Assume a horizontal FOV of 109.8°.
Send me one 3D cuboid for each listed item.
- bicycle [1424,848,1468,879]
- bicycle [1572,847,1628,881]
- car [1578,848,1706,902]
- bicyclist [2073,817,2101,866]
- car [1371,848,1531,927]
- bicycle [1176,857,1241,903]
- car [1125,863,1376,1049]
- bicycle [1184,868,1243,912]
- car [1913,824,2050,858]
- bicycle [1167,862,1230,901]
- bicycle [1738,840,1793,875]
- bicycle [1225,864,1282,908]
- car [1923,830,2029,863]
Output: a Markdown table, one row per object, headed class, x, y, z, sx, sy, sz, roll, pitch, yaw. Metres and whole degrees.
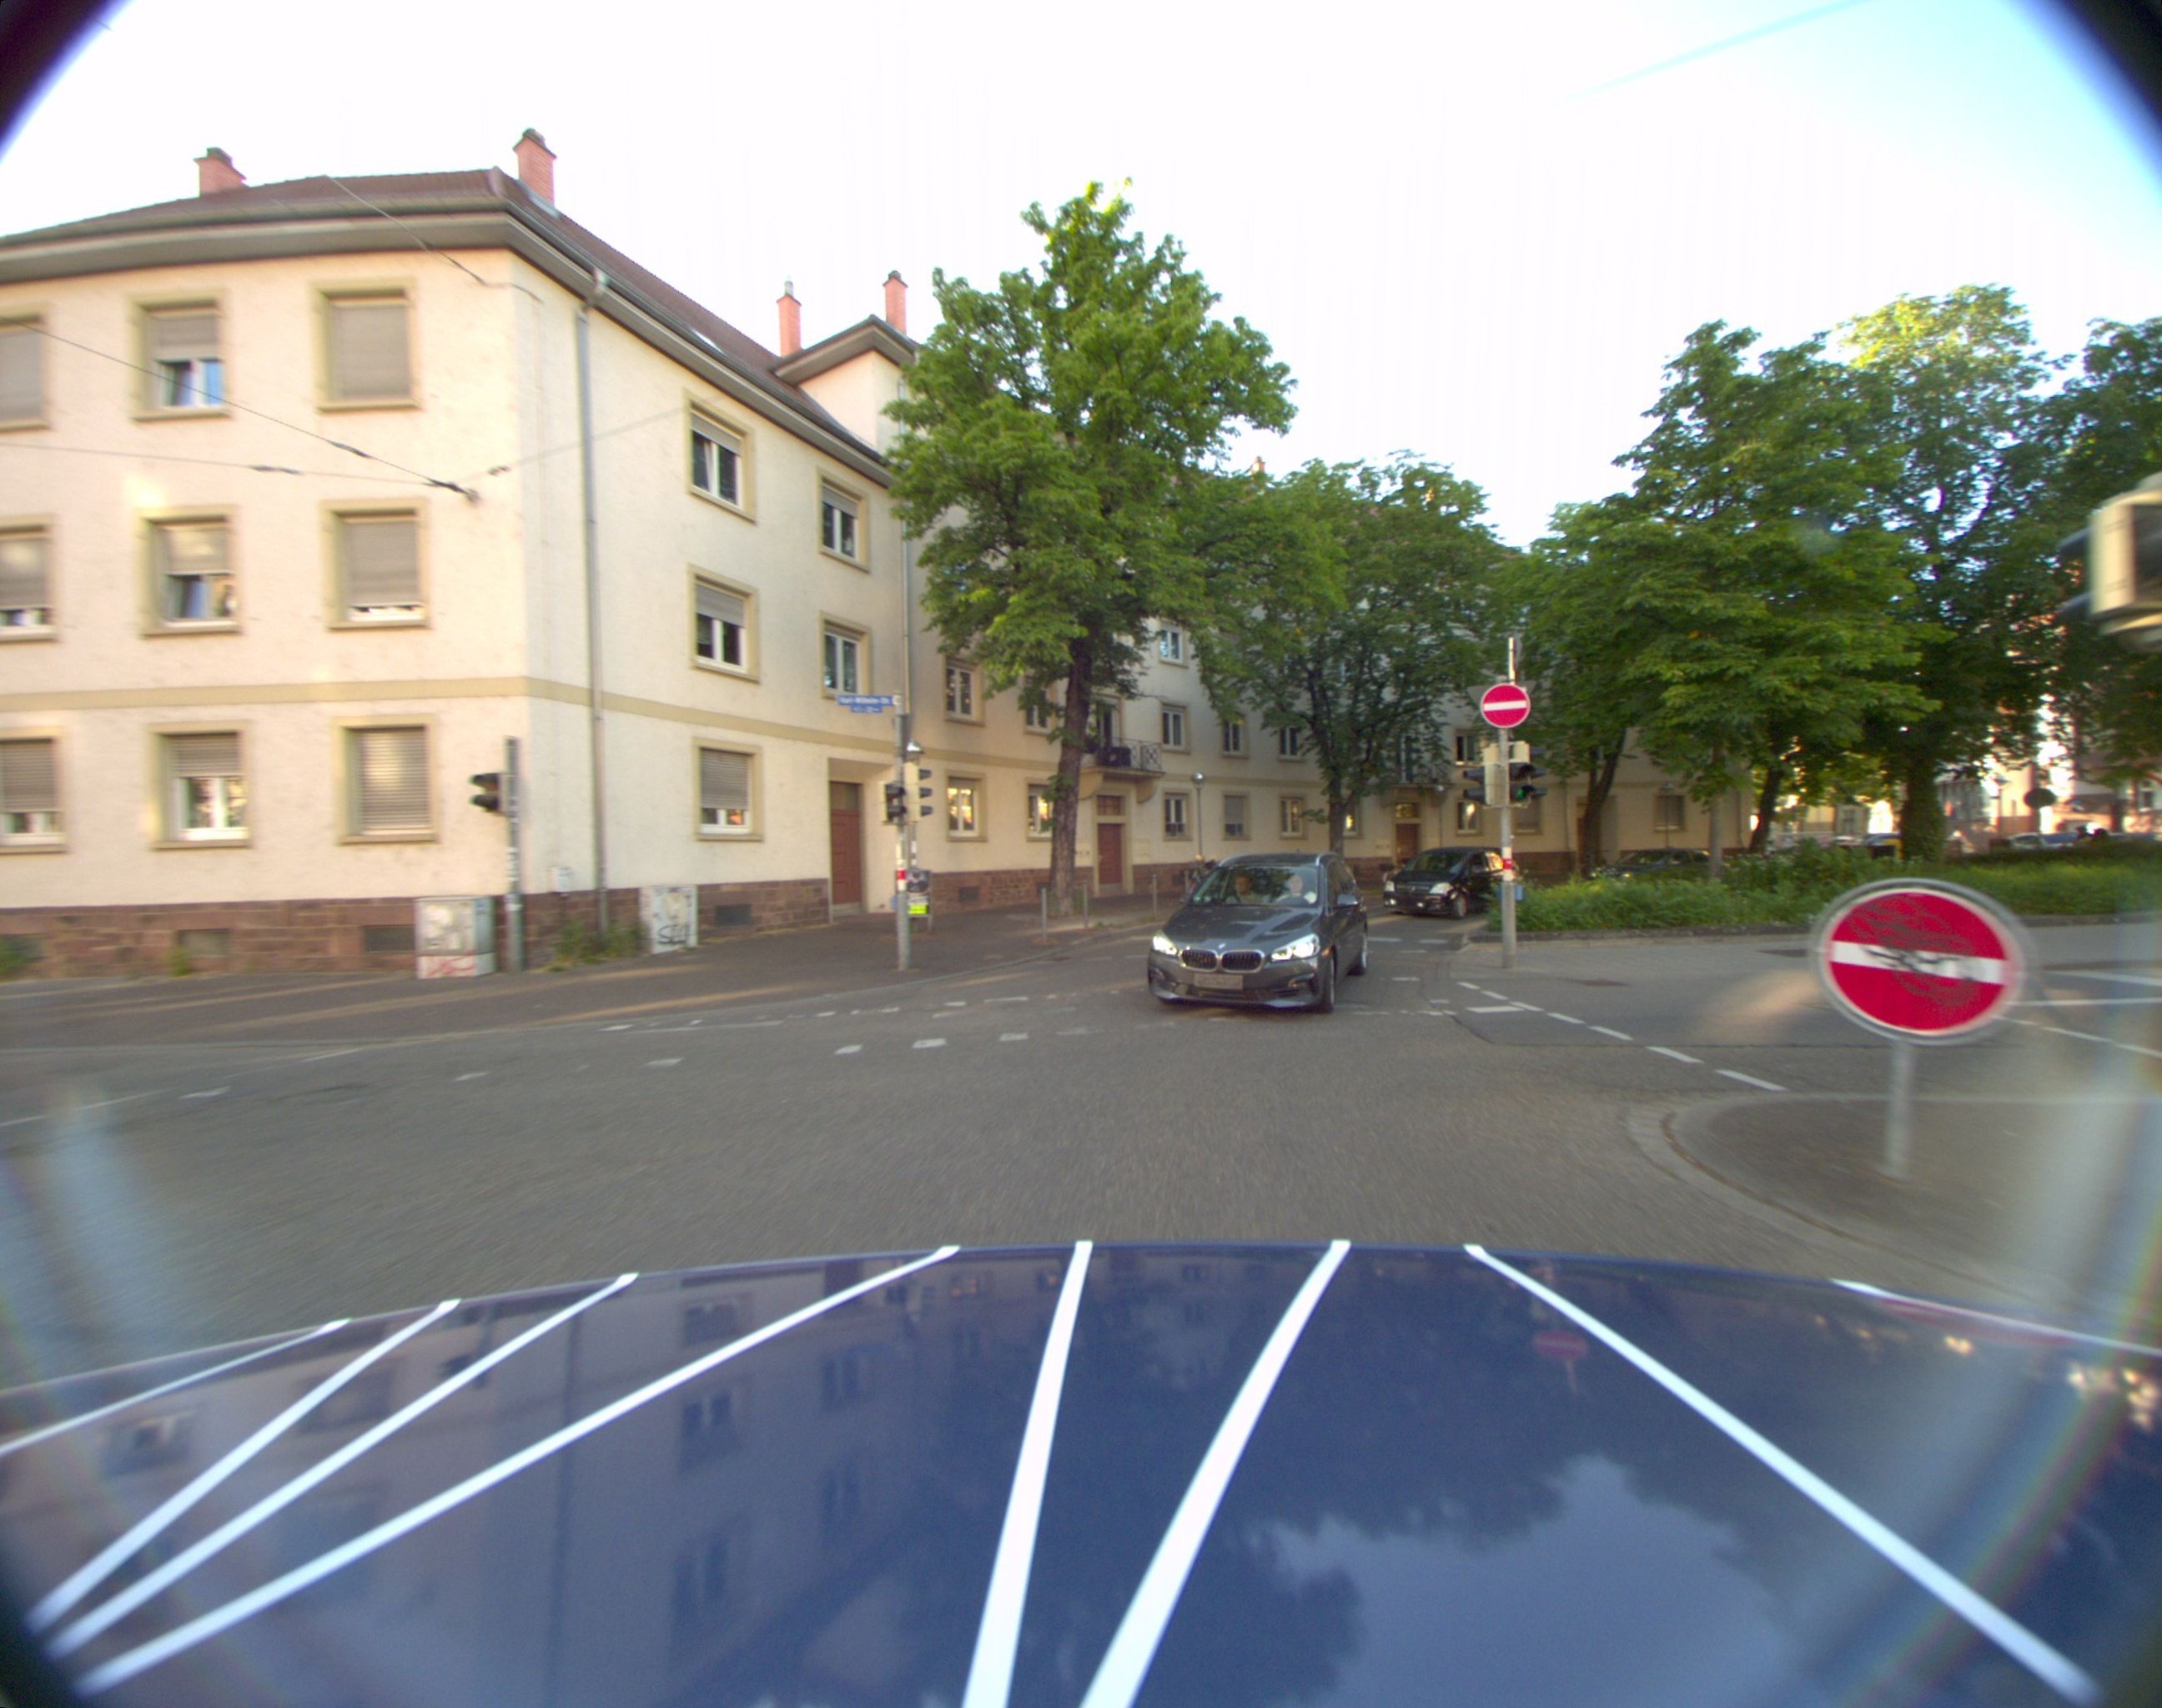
| class | x | y | z | sx | sy | sz | roll | pitch | yaw |
| --- | --- | --- | --- | --- | --- | --- | --- | --- | --- |
| bicycle | 13.998 | 0.352 | 29.119 | 1.862 | 1.112 | 0.801 | -2 | 1 | -39 |
| bicycle | 19.587 | 0.379 | 28.671 | 1.916 | 1.216 | 0.718 | -1 | 1 | -17 |
| car | 16.799 | 0.577 | 22.747 | 3.693 | 1.400 | 1.676 | -2 | 2 | -28 |
| bicyclist | 32.238 | -0.398 | 24.348 | 0.496 | 1.564 | 0.500 | -2 | 1 | -42 |
| car | 8.653 | 0.684 | 17.702 | 3.694 | 1.619 | 1.676 | -1 | 2 | -33 |
| bicycle | 3.831 | 0.765 | 22.760 | 1.970 | 1.270 | 0.717 | -2 | 2 | -35 |
| car | 2.219 | 0.912 | 8.838 | 1.790 | 1.569 | 4.269 | 0 | 0 | 28 |
| bicycle | 3.455 | 0.914 | 19.733 | 1.638 | 1.058 | 0.480 | -1 | 3 | -36 |
| car | 41.829 | -0.587 | 35.404 | 3.795 | 1.417 | 1.679 | -1 | 0 | 20 |
| bicycle | 3.641 | 0.825 | 23.448 | 1.970 | 1.101 | 0.668 | -2 | 1 | -34 |
| bicycle | 27.293 | 0.128 | 30.296 | 1.904 | 1.297 | 0.767 | -1 | 1 | -17 |
| bicycle | 4.735 | 0.866 | 20.795 | 1.744 | 1.101 | 0.526 | -1 | 3 | -38 |
| car | 45.153 | -0.389 | 38.482 | 1.802 | 1.543 | 4.192 | -1 | 0 | 23 |
